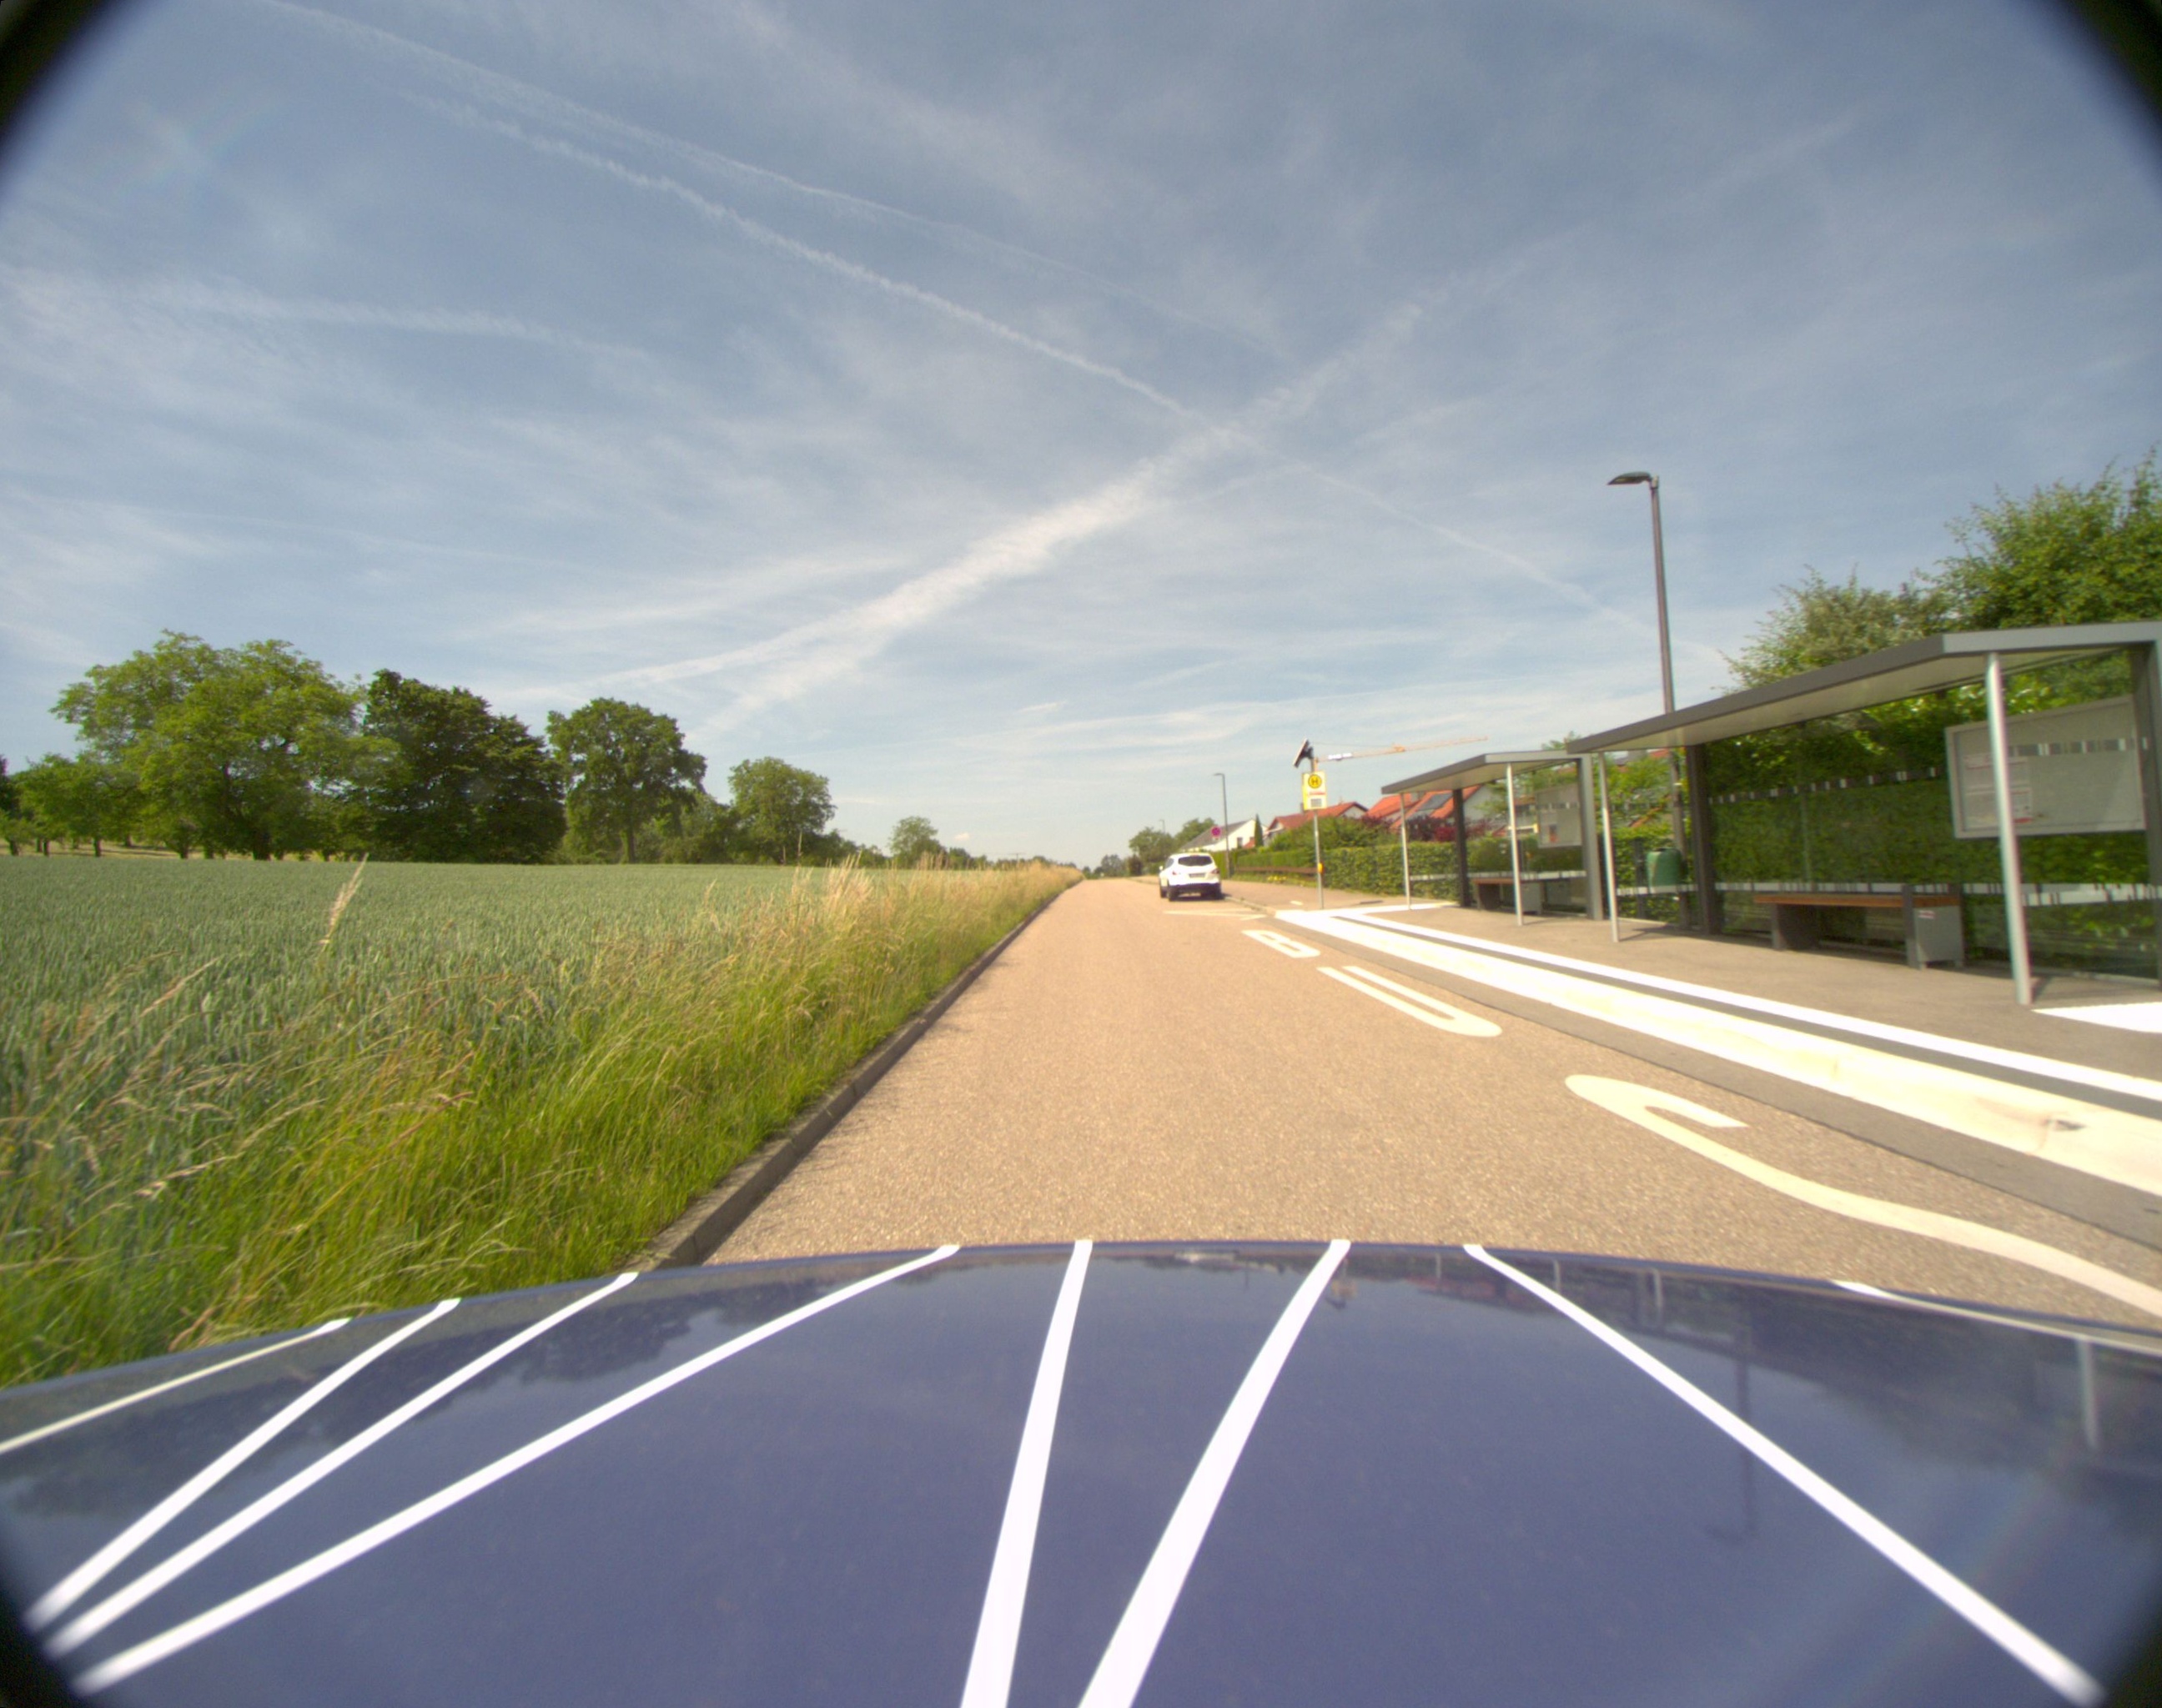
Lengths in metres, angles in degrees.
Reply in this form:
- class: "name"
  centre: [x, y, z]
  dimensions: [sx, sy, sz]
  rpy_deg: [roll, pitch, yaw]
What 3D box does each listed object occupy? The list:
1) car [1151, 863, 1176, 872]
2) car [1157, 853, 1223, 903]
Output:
- class: "car"
  centre: [13.391, 2.220, 123.004]
  dimensions: [3.884, 1.313, 1.802]
  rpy_deg: [-3, -1, 6]
- class: "car"
  centre: [3.870, 0.815, 27.543]
  dimensions: [1.738, 1.623, 4.352]
  rpy_deg: [-2, 0, 0]
